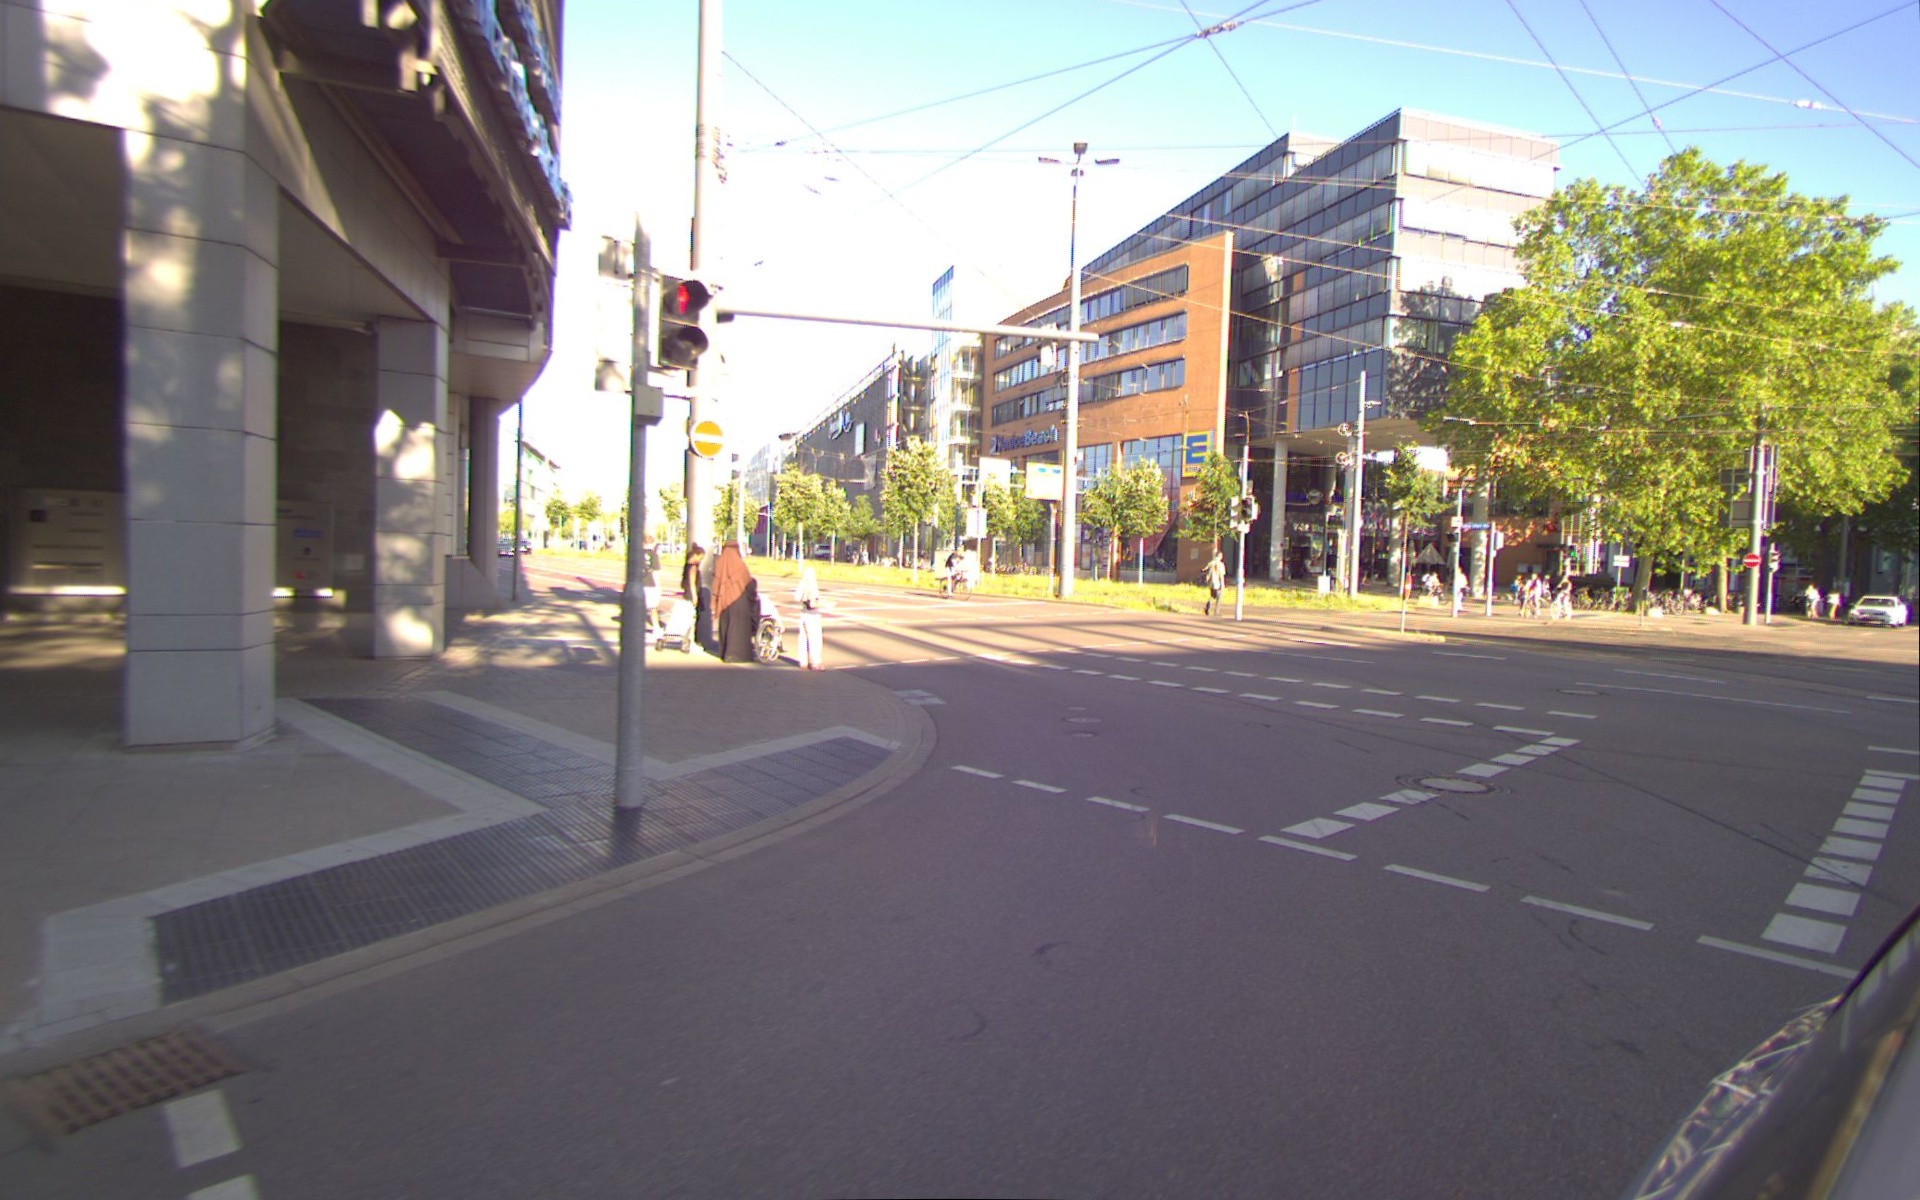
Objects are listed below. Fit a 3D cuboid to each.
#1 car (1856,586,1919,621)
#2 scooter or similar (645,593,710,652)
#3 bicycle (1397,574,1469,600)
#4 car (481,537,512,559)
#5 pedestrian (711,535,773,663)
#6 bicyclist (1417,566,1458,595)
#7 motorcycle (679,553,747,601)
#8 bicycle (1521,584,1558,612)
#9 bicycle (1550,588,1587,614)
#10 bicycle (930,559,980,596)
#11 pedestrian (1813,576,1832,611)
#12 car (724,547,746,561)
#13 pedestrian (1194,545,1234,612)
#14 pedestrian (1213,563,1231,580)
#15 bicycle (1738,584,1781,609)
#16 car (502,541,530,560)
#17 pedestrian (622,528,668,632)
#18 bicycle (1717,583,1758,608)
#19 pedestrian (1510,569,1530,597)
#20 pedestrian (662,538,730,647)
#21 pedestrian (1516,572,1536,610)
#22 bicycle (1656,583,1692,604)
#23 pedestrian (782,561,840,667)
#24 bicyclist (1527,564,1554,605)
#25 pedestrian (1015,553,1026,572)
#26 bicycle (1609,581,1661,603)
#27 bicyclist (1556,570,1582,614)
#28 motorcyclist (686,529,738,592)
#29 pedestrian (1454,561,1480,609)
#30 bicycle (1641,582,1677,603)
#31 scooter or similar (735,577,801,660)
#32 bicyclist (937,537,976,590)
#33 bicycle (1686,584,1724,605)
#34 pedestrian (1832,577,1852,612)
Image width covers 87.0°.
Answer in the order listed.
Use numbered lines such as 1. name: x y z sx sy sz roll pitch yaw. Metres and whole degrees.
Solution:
1. car: 44.242 0.198 48.034 3.929 1.504 1.998 1 2 -40
2. scooter or similar: -4.130 0.320 14.806 0.654 0.800 0.611 3 1 28
3. bicycle: 24.183 -0.685 51.780 1.025 1.146 3.178 0 3 -40
4. car: -40.535 -4.582 88.389 1.740 1.745 3.909 1 3 -35
5. pedestrian: -3.043 -0.030 14.167 0.573 1.729 0.635 3 2 17
6. bicyclist: 24.345 -1.002 51.608 1.025 1.398 1.563 0 3 -40
7. motorcycle: -7.140 -0.683 29.102 0.967 1.247 2.946 0 3 -33
8. bicycle: 21.970 -0.071 38.366 1.601 1.034 0.517 0 2 -32
9. bicycle: 24.239 0.033 40.305 1.822 1.034 0.517 0 2 -33
10. bicycle: -0.179 -0.733 32.987 0.633 1.121 1.682 0 3 -42
11. pedestrian: 44.839 -0.337 52.612 0.607 1.798 0.641 0 3 -44
12. car: -26.946 -5.476 121.067 1.868 1.526 4.009 2 1 -23
13. pedestrian: 7.065 -0.616 28.180 0.869 1.845 0.676 -1 3 -39
14. pedestrian: 17.204 -1.841 66.398 0.770 1.070 0.816 1 3 -21
15. bicycle: 44.529 -0.216 56.413 0.866 1.250 2.916 3 3 18
16. car: -43.807 -4.890 99.797 1.849 1.621 4.005 1 3 -32
17. pedestrian: -5.392 -0.350 17.291 0.675 1.736 0.647 1 2 -20
18. bicycle: 43.553 -0.267 56.731 0.866 1.250 2.916 3 3 18
19. pedestrian: 31.113 -0.962 56.245 0.762 1.545 0.565 1 2 -23
20. pedestrian: -4.050 -0.119 15.530 0.656 1.620 0.695 3 1 35
21. pedestrian: 24.309 -0.376 43.440 0.648 1.601 0.489 0 3 -41
22. bicycle: 42.094 -0.409 59.738 0.866 1.104 2.916 3 3 18
23. pedestrian: -2.071 0.181 14.115 0.539 1.419 0.635 3 2 16
24. bicyclist: 22.002 -0.586 38.364 0.730 1.521 0.570 0 2 -33
25. pedestrian: 5.207 -3.218 86.595 0.693 1.588 0.624 1 3 -21
26. bicycle: 39.661 -0.509 59.505 0.860 1.104 2.936 2 3 -3
27. bicyclist: 24.226 -0.322 40.273 0.730 1.715 0.570 0 2 -33
28. motorcyclist: -7.149 -1.145 29.142 1.002 1.752 1.462 0 3 -33
29. pedestrian: 20.087 -0.589 40.099 0.688 1.859 0.516 2 1 -9
30. bicycle: 41.087 -0.447 59.535 0.866 1.104 2.916 3 3 18
31. scooter or similar: -2.825 0.256 14.948 0.543 1.143 1.013 2 2 17
32. bicyclist: -0.128 -1.182 32.942 0.753 1.687 0.992 0 3 -42
33. bicycle: 43.343 -0.333 58.913 0.866 1.104 2.916 3 3 18
34. pedestrian: 45.481 -0.290 52.177 0.607 1.798 0.641 0 3 -44
